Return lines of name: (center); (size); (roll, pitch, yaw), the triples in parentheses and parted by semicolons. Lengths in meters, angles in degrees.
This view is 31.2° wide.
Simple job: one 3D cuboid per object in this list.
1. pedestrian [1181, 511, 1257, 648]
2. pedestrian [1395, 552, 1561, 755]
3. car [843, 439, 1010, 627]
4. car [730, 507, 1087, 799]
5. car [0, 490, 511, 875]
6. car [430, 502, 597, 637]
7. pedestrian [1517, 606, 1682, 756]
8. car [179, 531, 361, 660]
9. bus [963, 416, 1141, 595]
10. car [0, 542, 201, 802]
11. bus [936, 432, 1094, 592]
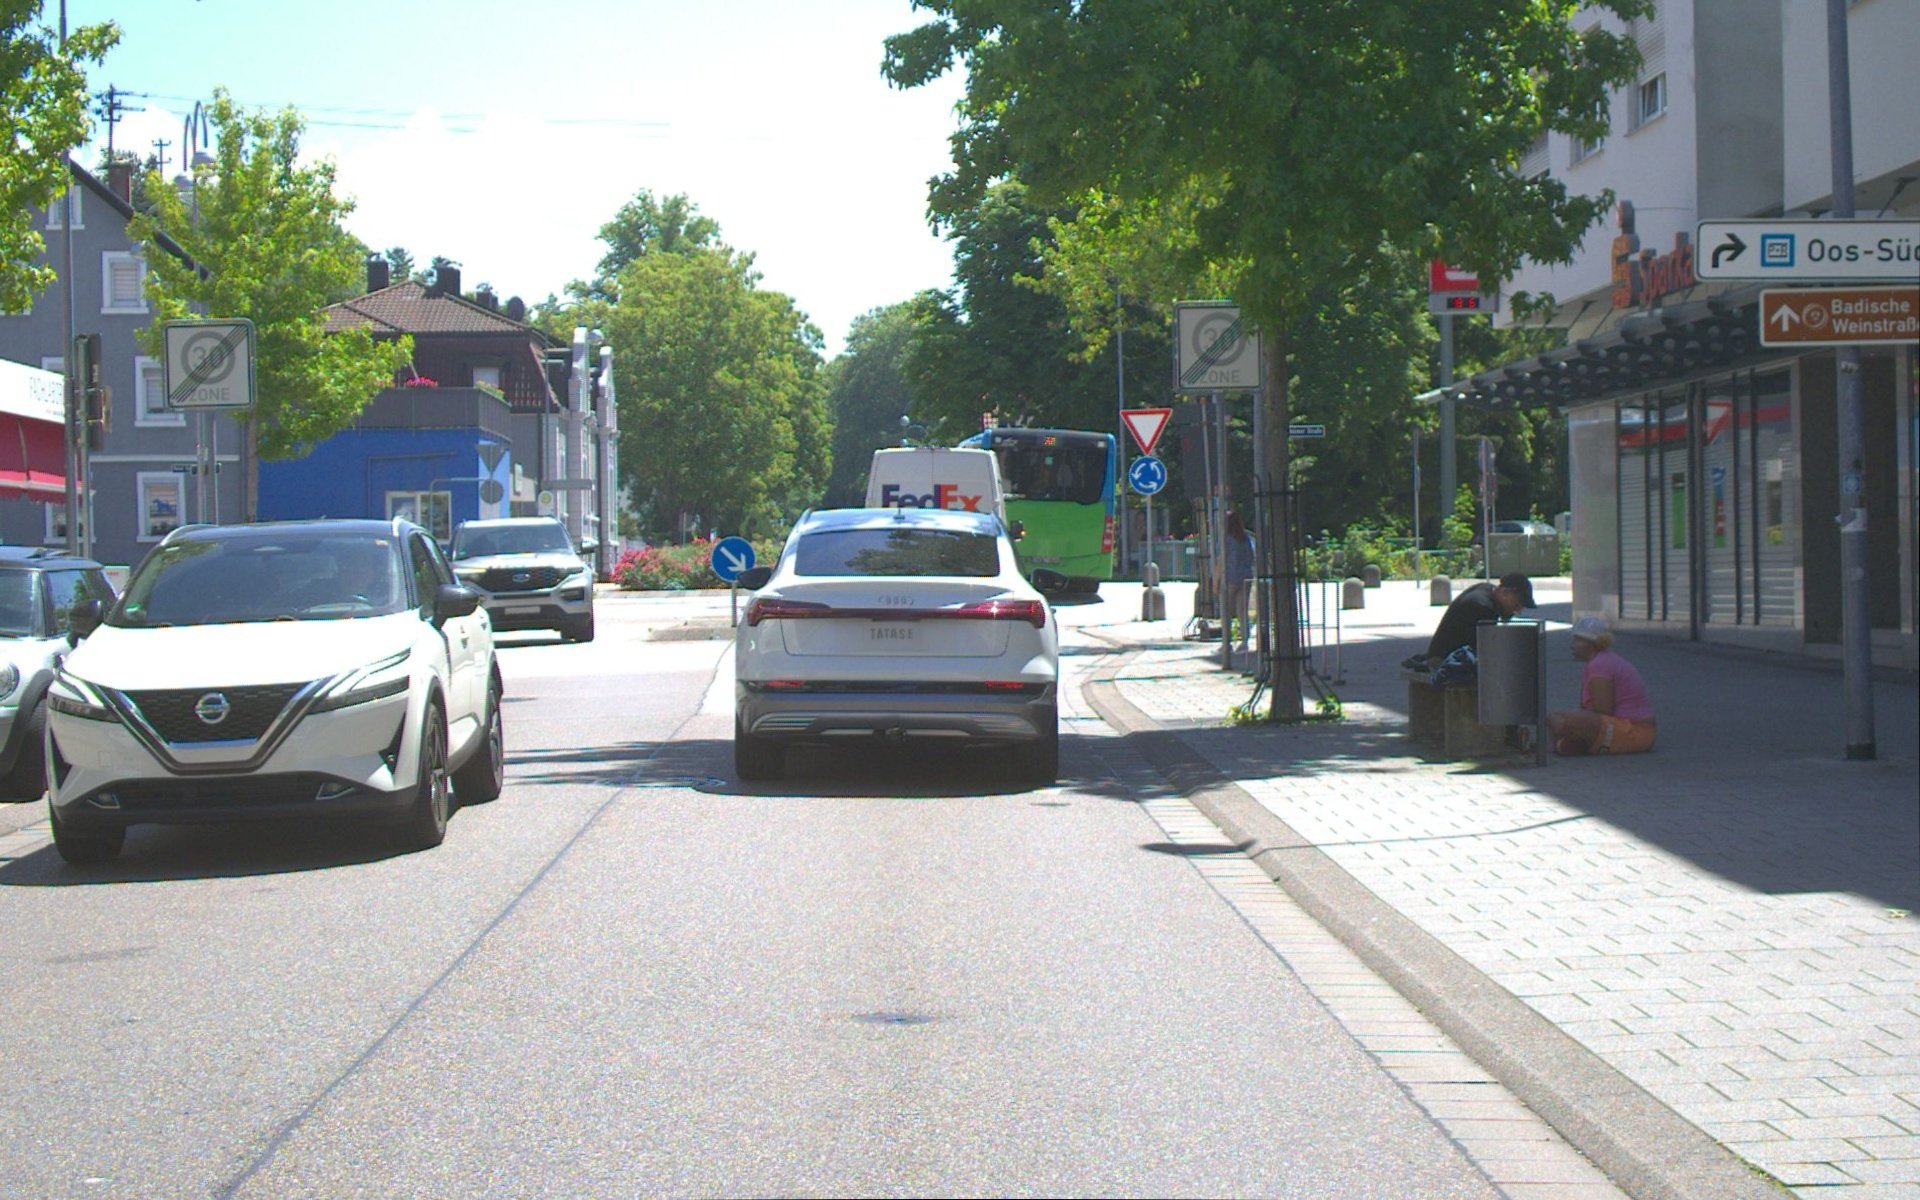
pedestrian: (2.880, -0.234, 38.239); (0.580, 1.497, 0.719); (-1, 1, -19)
pedestrian: (3.231, 0.326, 21.487); (0.906, 1.232, 0.648); (-1, 1, -2)
car: (-0.483, -0.905, 47.832); (2.156, 2.433, 5.284); (1, 1, -1)
car: (-0.370, 0.267, 21.333); (1.993, 1.627, 4.001); (1, 1, -2)
car: (-3.485, 0.346, 17.725); (1.856, 1.686, 4.151); (-2, 1, -2)
car: (-6.186, -0.430, 47.314); (1.864, 1.751, 4.001); (1, 1, -13)
pedestrian: (3.902, 0.491, 21.025); (0.906, 0.876, 0.648); (-1, 1, 4)
car: (-8.524, -0.086, 42.731); (1.837, 1.490, 4.001); (-1, 1, -6)
bus: (1.678, -1.762, 66.234); (2.660, 3.210, 7.302); (1, 1, -4)
car: (-6.169, 0.365, 21.592); (1.752, 1.448, 4.401); (1, 1, 1)
bus: (1.085, -1.852, 73.527); (2.660, 3.198, 7.453); (-1, 1, -4)
